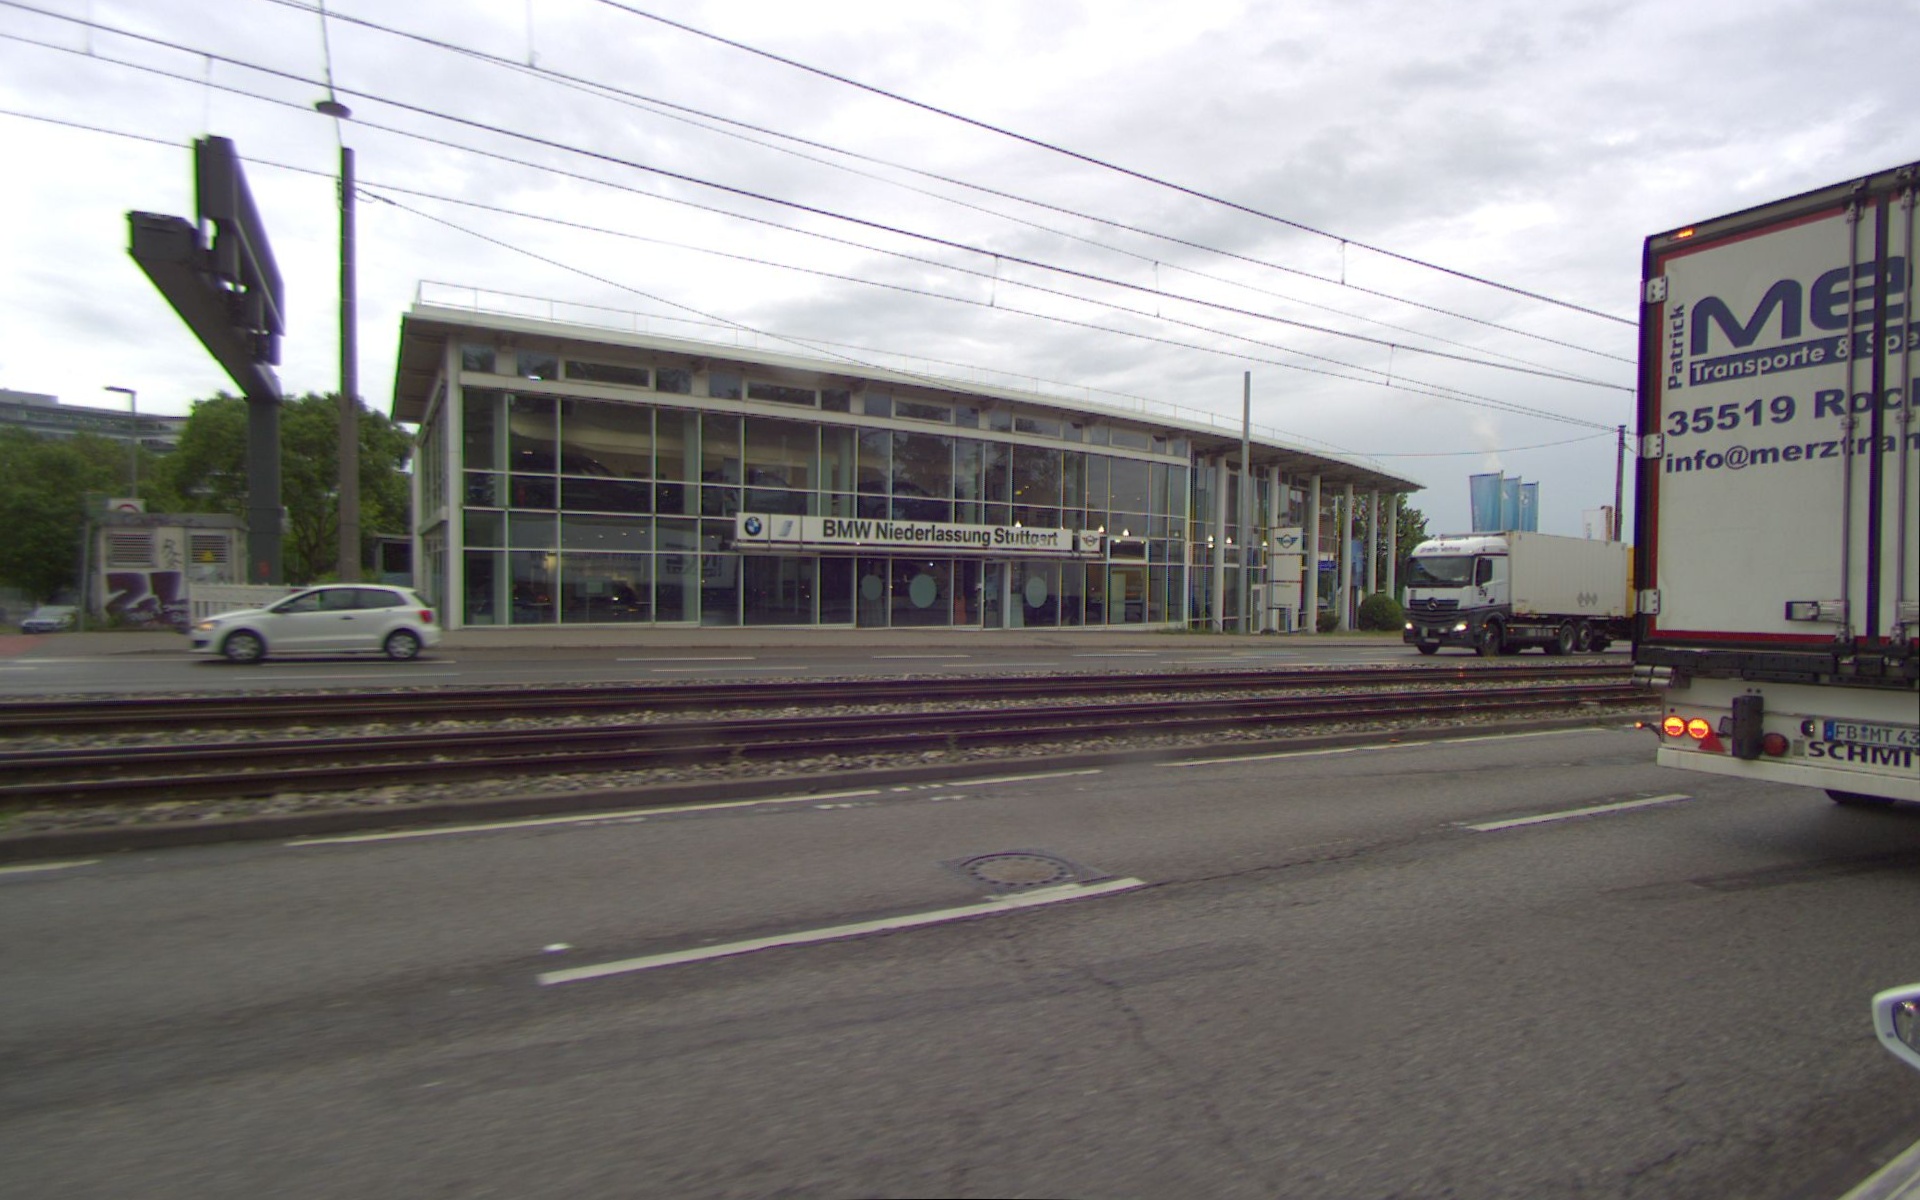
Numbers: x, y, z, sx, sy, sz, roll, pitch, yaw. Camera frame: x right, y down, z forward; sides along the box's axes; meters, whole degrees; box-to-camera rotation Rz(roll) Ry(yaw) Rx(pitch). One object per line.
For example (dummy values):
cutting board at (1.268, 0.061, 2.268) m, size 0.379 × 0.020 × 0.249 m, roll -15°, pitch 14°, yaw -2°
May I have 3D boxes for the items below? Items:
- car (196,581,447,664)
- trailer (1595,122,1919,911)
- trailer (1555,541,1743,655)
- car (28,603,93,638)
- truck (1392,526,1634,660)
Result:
car at (-11.806, 0.409, 18.837) m, size 3.806 × 1.423 × 1.672 m, roll 1°, pitch 0°, yaw -30°
trailer at (10.695, -0.332, 9.058) m, size 13.028 × 4.309 × 2.749 m, roll 1°, pitch -1°, yaw -30°
trailer at (27.332, 0.038, 39.685) m, size 8.980 × 4.105 × 2.669 m, roll 2°, pitch 0°, yaw -32°
car at (-41.885, 0.939, 46.866) m, size 1.594 × 1.452 × 4.133 m, roll 1°, pitch 0°, yaw -33°
truck at (19.270, -0.107, 34.700) m, size 10.028 × 4.105 × 2.669 m, roll 2°, pitch 0°, yaw -32°
